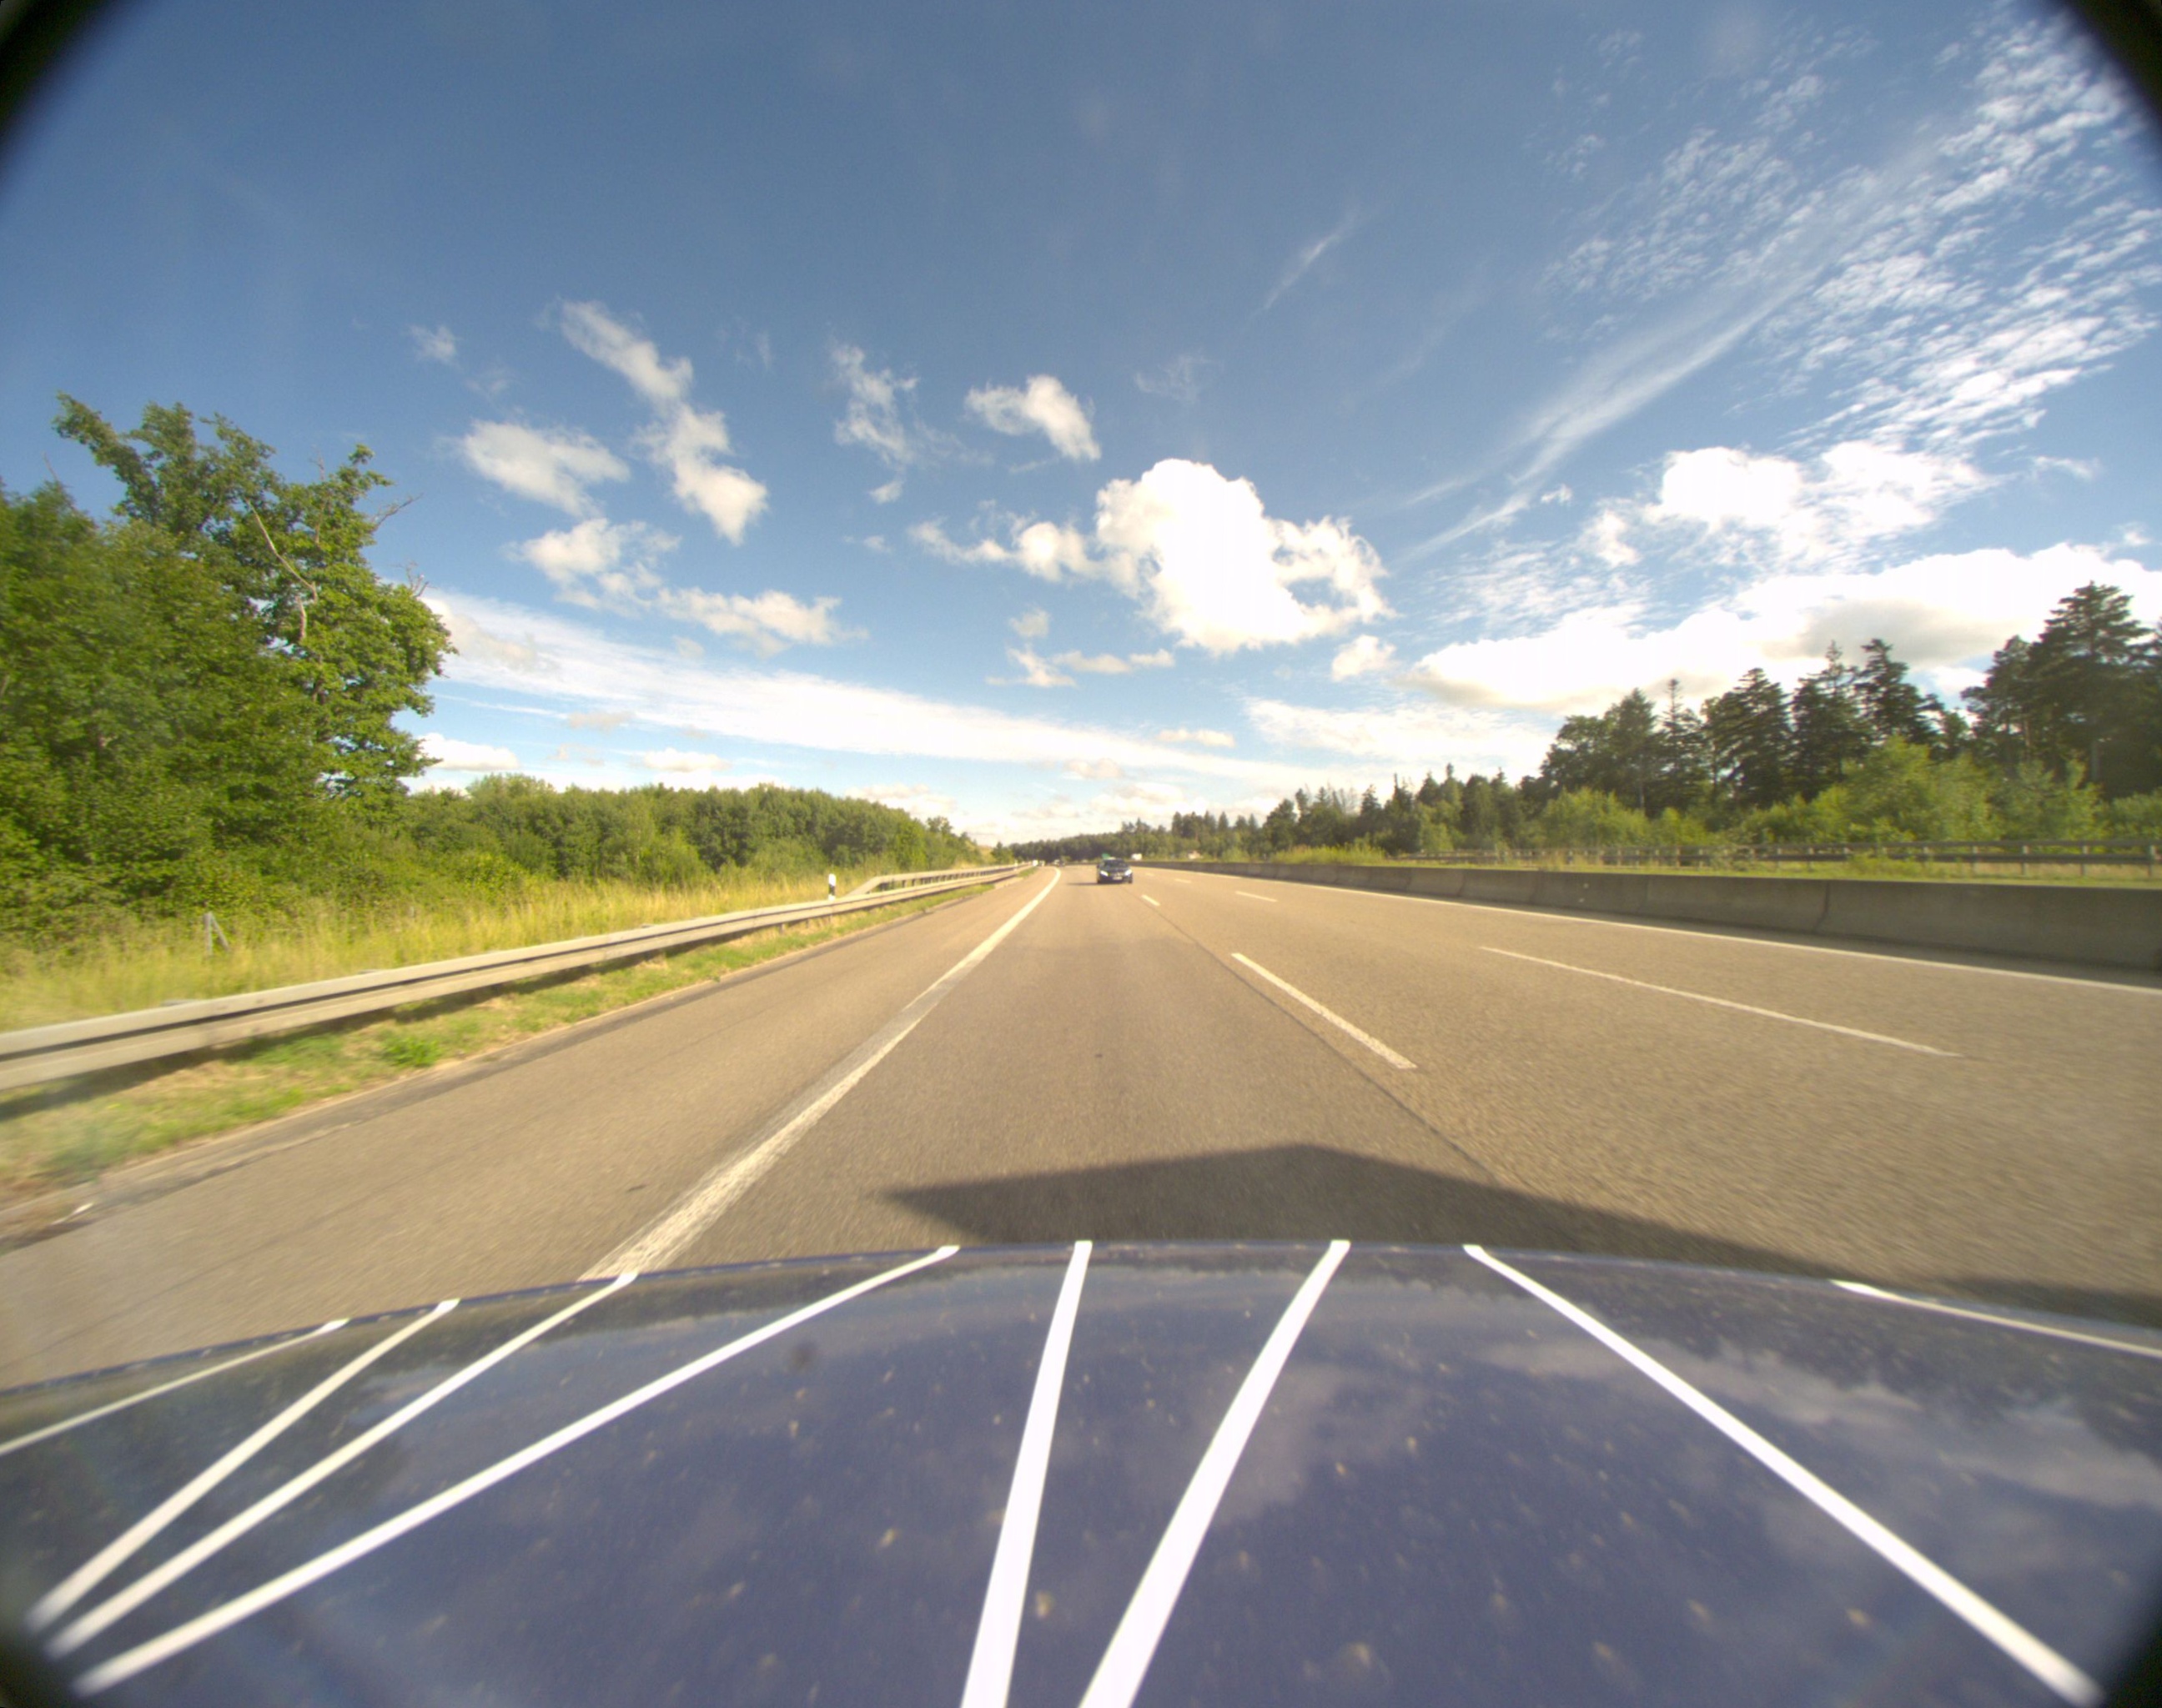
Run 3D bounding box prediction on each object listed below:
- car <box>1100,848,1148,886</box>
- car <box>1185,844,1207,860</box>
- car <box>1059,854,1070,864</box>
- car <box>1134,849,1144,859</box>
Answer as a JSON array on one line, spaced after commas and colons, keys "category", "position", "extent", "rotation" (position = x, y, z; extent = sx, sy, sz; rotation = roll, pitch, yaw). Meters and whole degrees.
[{"category": "car", "position": [2.177, 0.645, 39.740], "extent": [1.999, 1.827, 3.999], "rotation": [-2, 0, -3]}, {"category": "car", "position": [18.000, -0.307, 118.897], "extent": [2.316, 2.304, 6.191], "rotation": [-5, 0, 0]}, {"category": "car", "position": [-3.755, 1.157, 170.627], "extent": [1.998, 2.002, 4.001], "rotation": [-3, 0, 3]}, {"category": "car", "position": [14.326, -0.051, 187.727], "extent": [2.070, 2.231, 5.203], "rotation": [-2, 0, -1]}]
